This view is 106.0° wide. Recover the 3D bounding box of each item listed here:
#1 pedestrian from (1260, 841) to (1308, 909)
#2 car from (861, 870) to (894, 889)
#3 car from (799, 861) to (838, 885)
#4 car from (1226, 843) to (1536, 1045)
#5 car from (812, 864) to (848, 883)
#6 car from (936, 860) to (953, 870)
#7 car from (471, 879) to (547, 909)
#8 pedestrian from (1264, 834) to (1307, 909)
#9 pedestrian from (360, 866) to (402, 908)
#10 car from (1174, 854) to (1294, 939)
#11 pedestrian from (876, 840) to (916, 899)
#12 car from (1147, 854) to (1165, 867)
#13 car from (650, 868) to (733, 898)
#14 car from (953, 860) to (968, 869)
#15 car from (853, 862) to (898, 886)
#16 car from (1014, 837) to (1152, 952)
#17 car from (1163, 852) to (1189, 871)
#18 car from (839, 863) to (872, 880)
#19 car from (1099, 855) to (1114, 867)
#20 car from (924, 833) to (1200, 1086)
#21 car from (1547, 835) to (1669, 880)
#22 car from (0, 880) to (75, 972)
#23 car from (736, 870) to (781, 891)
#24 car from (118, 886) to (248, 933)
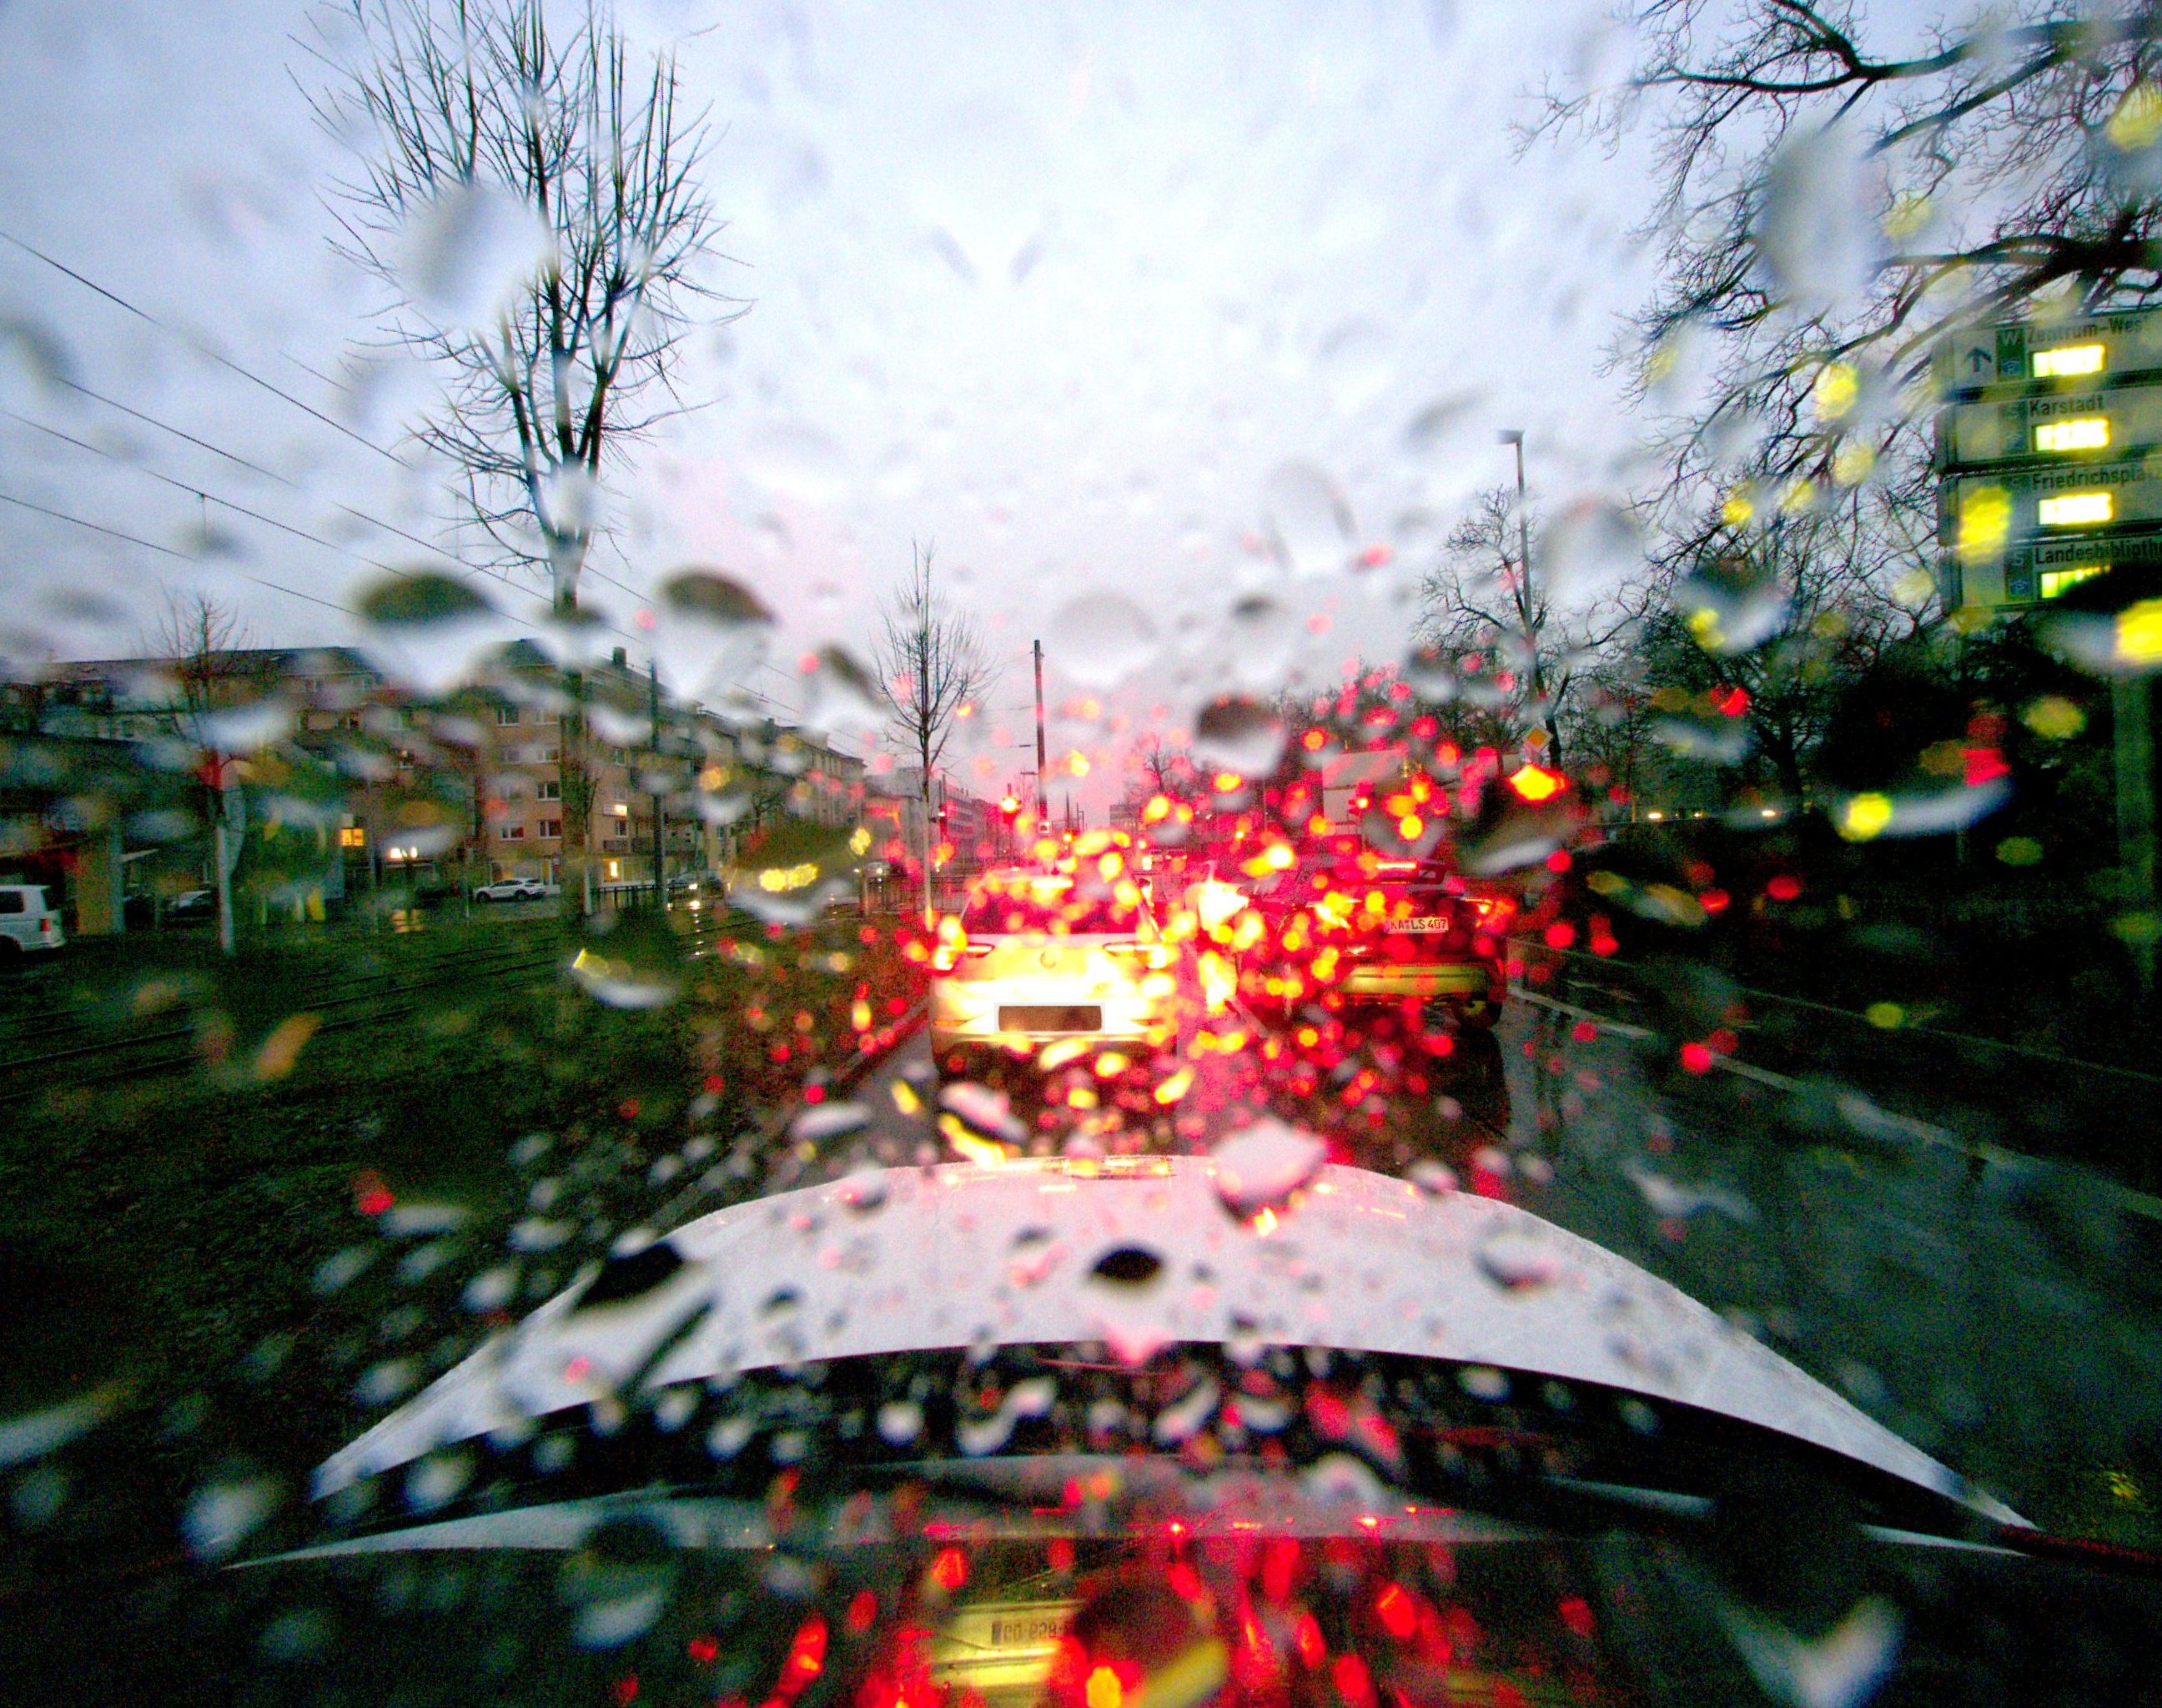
[{"bbox_3d":[6.208,0.632,24.936,0.962,2.013,1.001,-2,0,-21],"label":"pedestrian"},{"bbox_3d":[-18.584,2.283,74.658,1.860,1.577,4.002,-2,0,2],"label":"car"},{"bbox_3d":[-22.618,1.587,70.277,1.986,2.014,4.001,0,0,1],"label":"car"},{"bbox_3d":[2.669,0.698,8.259,1.793,1.511,3.897,-2,0,2],"label":"car"},{"bbox_3d":[-18.829,1.445,61.268,1.688,1.277,4.142,-2,0,-4],"label":"car"},{"bbox_3d":[-22.960,1.858,137.105,1.942,1.602,4.002,0,0,2],"label":"car"},{"bbox_3d":[-38.561,2.690,54.989,3.743,1.942,1.838,0,0,-6],"label":"car"},{"bbox_3d":[5.694,0.482,22.716,0.954,2.013,1.009,-2,0,4],"label":"pedestrian"},{"bbox_3d":[-34.611,1.606,40.286,1.274,2.013,1.000,-2,0,-22],"label":"pedestrian"},{"bbox_3d":[2.772,0.724,15.536,1.738,1.433,3.733,0,0,2],"label":"car"},{"bbox_3d":[-6.549,0.554,28.865,1.012,2.013,0.951,-2,0,-38],"label":"pedestrian"},{"bbox_3d":[8.261,0.700,89.758,1.731,1.419,3.705,-2,0,2],"label":"car"},{"bbox_3d":[-18.844,1.370,39.671,1.852,1.332,4.317,0,0,2],"label":"car"},{"bbox_3d":[-22.219,1.939,150.468,1.942,1.602,4.002,0,0,2],"label":"car"},{"bbox_3d":[-14.008,1.344,55.703,1.986,1.602,4.001,0,0,1],"label":"car"},{"bbox_3d":[0.110,0.532,13.147,1.792,1.466,4.588,-2,0,2],"label":"car"},{"bbox_3d":[7.802,0.597,67.185,1.731,1.419,3.705,-2,0,2],"label":"car"},{"bbox_3d":[-21.760,1.679,78.859,1.942,1.602,4.002,0,0,2],"label":"car"},{"bbox_3d":[3.202,0.835,100.257,1.731,1.419,4.396,-2,0,2],"label":"car"},{"bbox_3d":[-0.148,0.639,7.039,1.688,1.533,3.998,-1,0,-1],"label":"car"},{"bbox_3d":[23.607,0.152,36.649,4.237,1.943,2.009,0,0,18],"label":"car"},{"bbox_3d":[-28.646,1.830,19.922,4.859,2.244,1.975,0,0,-44],"label":"car"},{"bbox_3d":[-22.135,1.773,56.003,1.686,1.277,3.535,-2,0,-1],"label":"car"},{"bbox_3d":[-43.086,2.625,39.201,1.886,2.014,3.876,0,0,2],"label":"car"}]
